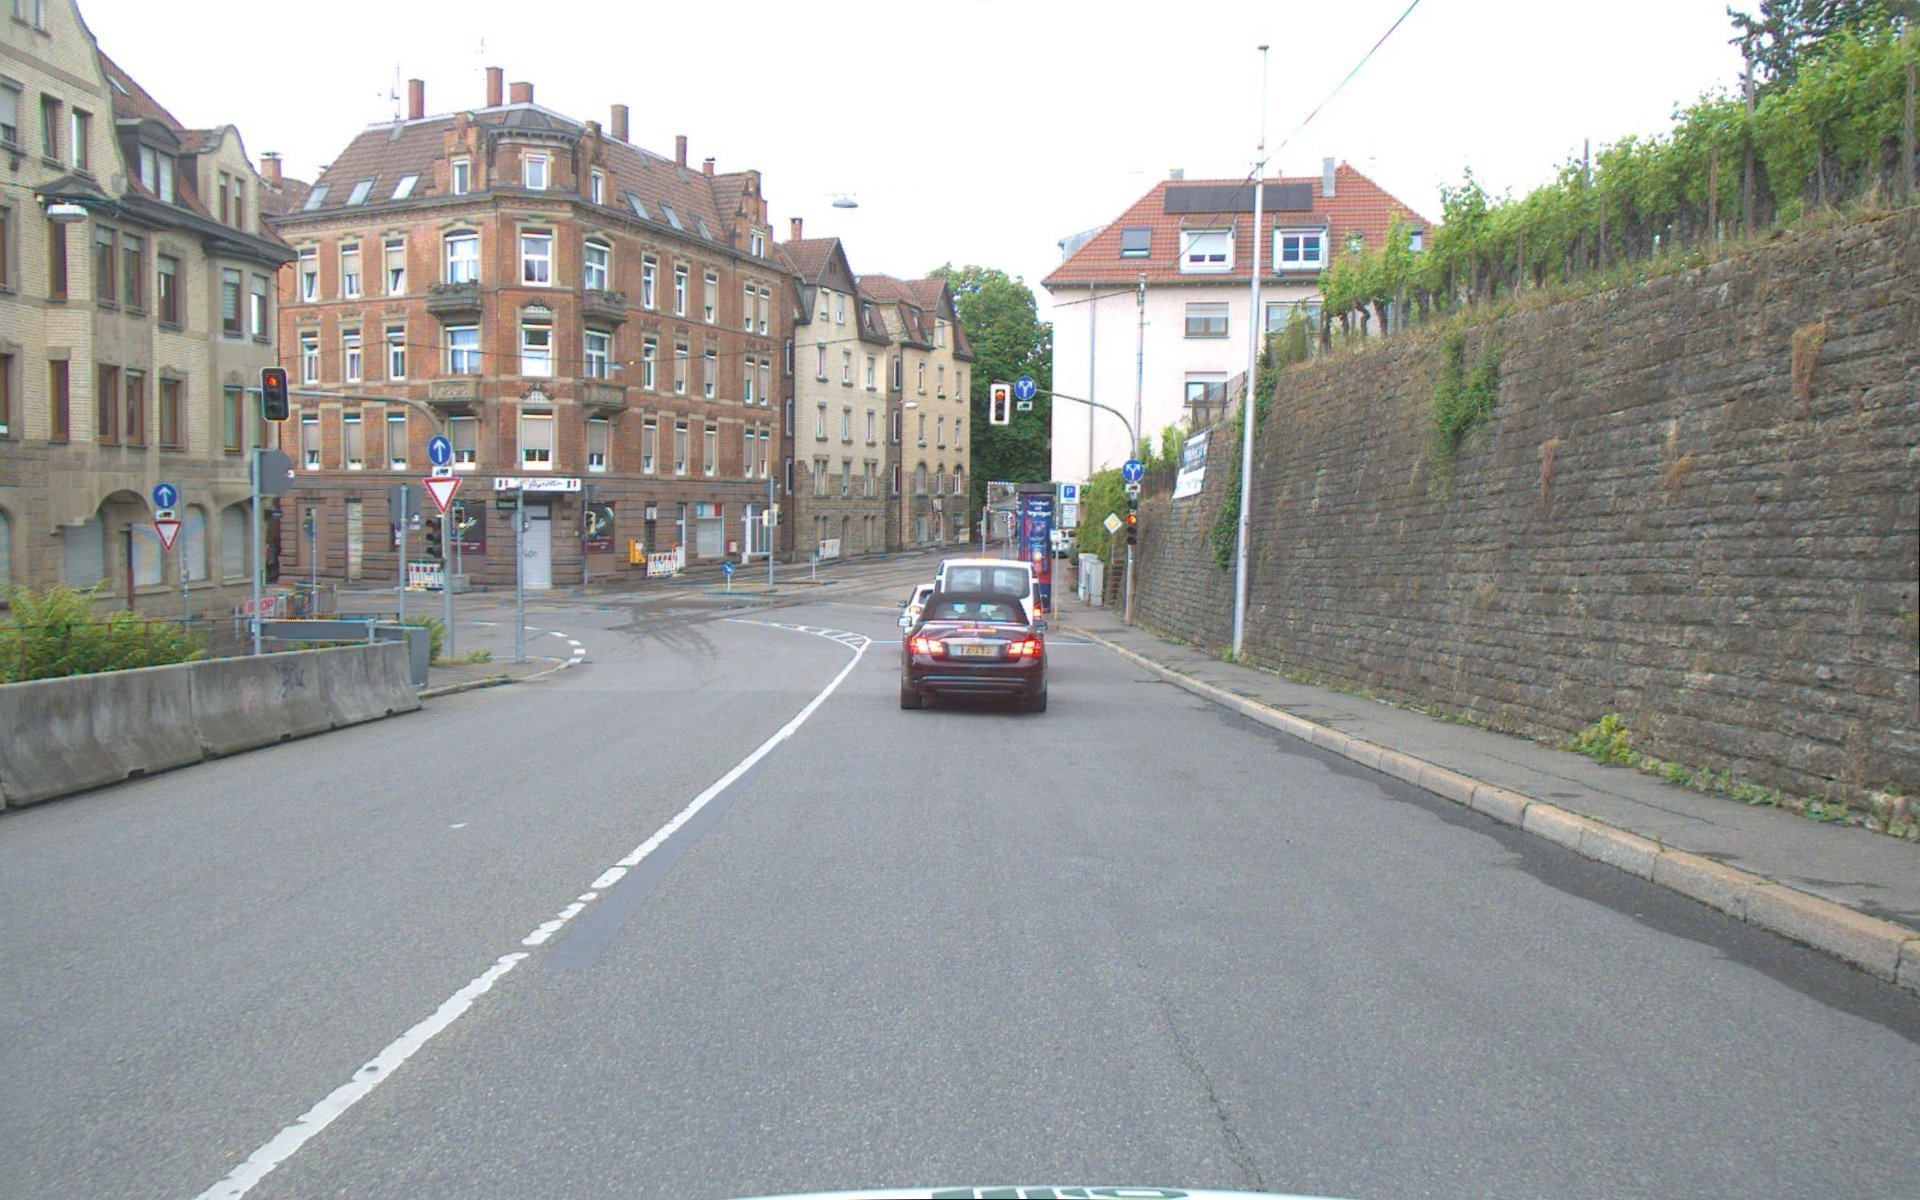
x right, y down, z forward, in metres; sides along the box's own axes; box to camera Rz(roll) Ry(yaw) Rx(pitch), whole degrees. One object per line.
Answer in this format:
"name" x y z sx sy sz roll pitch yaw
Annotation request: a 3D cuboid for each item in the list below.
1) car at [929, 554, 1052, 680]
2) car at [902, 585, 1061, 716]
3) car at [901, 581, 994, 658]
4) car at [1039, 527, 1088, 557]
"car" 0.441 0.244 27.720 1.870 1.916 3.999 1 1 -1
"car" 0.203 0.561 20.814 1.779 1.455 3.999 1 0 -1
"car" -0.278 0.356 34.527 1.804 1.466 3.999 1 1 -1
"car" 6.166 -3.434 97.750 1.803 1.731 4.001 1 2 20
